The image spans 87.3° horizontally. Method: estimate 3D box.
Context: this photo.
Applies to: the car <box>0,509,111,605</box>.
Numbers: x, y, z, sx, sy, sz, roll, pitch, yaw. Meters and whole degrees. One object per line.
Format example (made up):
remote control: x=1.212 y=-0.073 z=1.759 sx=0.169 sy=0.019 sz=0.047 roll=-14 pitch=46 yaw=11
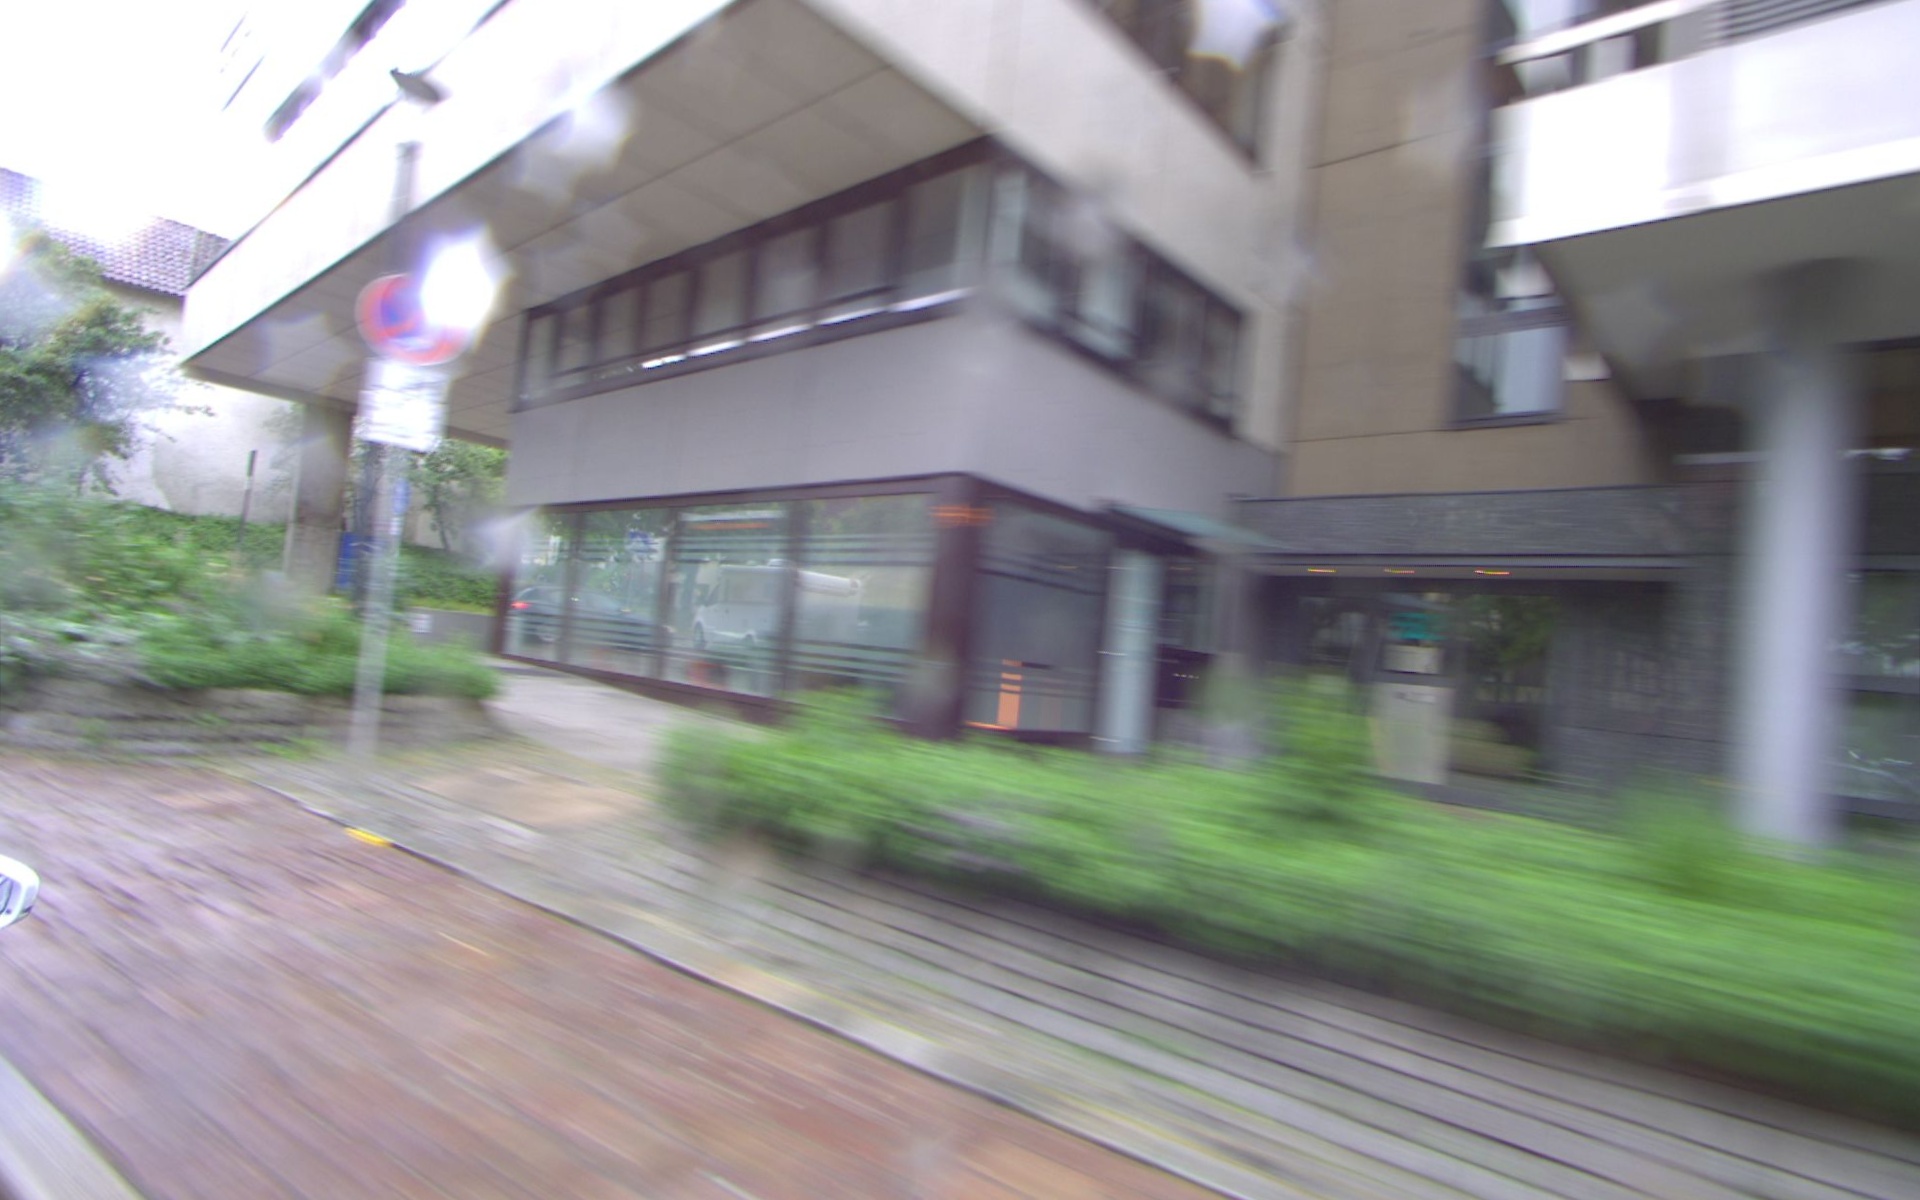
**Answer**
car: x=-17.362 y=-0.988 z=16.894 sx=1.810 sy=1.432 sz=4.294 roll=7 pitch=-4 yaw=33
